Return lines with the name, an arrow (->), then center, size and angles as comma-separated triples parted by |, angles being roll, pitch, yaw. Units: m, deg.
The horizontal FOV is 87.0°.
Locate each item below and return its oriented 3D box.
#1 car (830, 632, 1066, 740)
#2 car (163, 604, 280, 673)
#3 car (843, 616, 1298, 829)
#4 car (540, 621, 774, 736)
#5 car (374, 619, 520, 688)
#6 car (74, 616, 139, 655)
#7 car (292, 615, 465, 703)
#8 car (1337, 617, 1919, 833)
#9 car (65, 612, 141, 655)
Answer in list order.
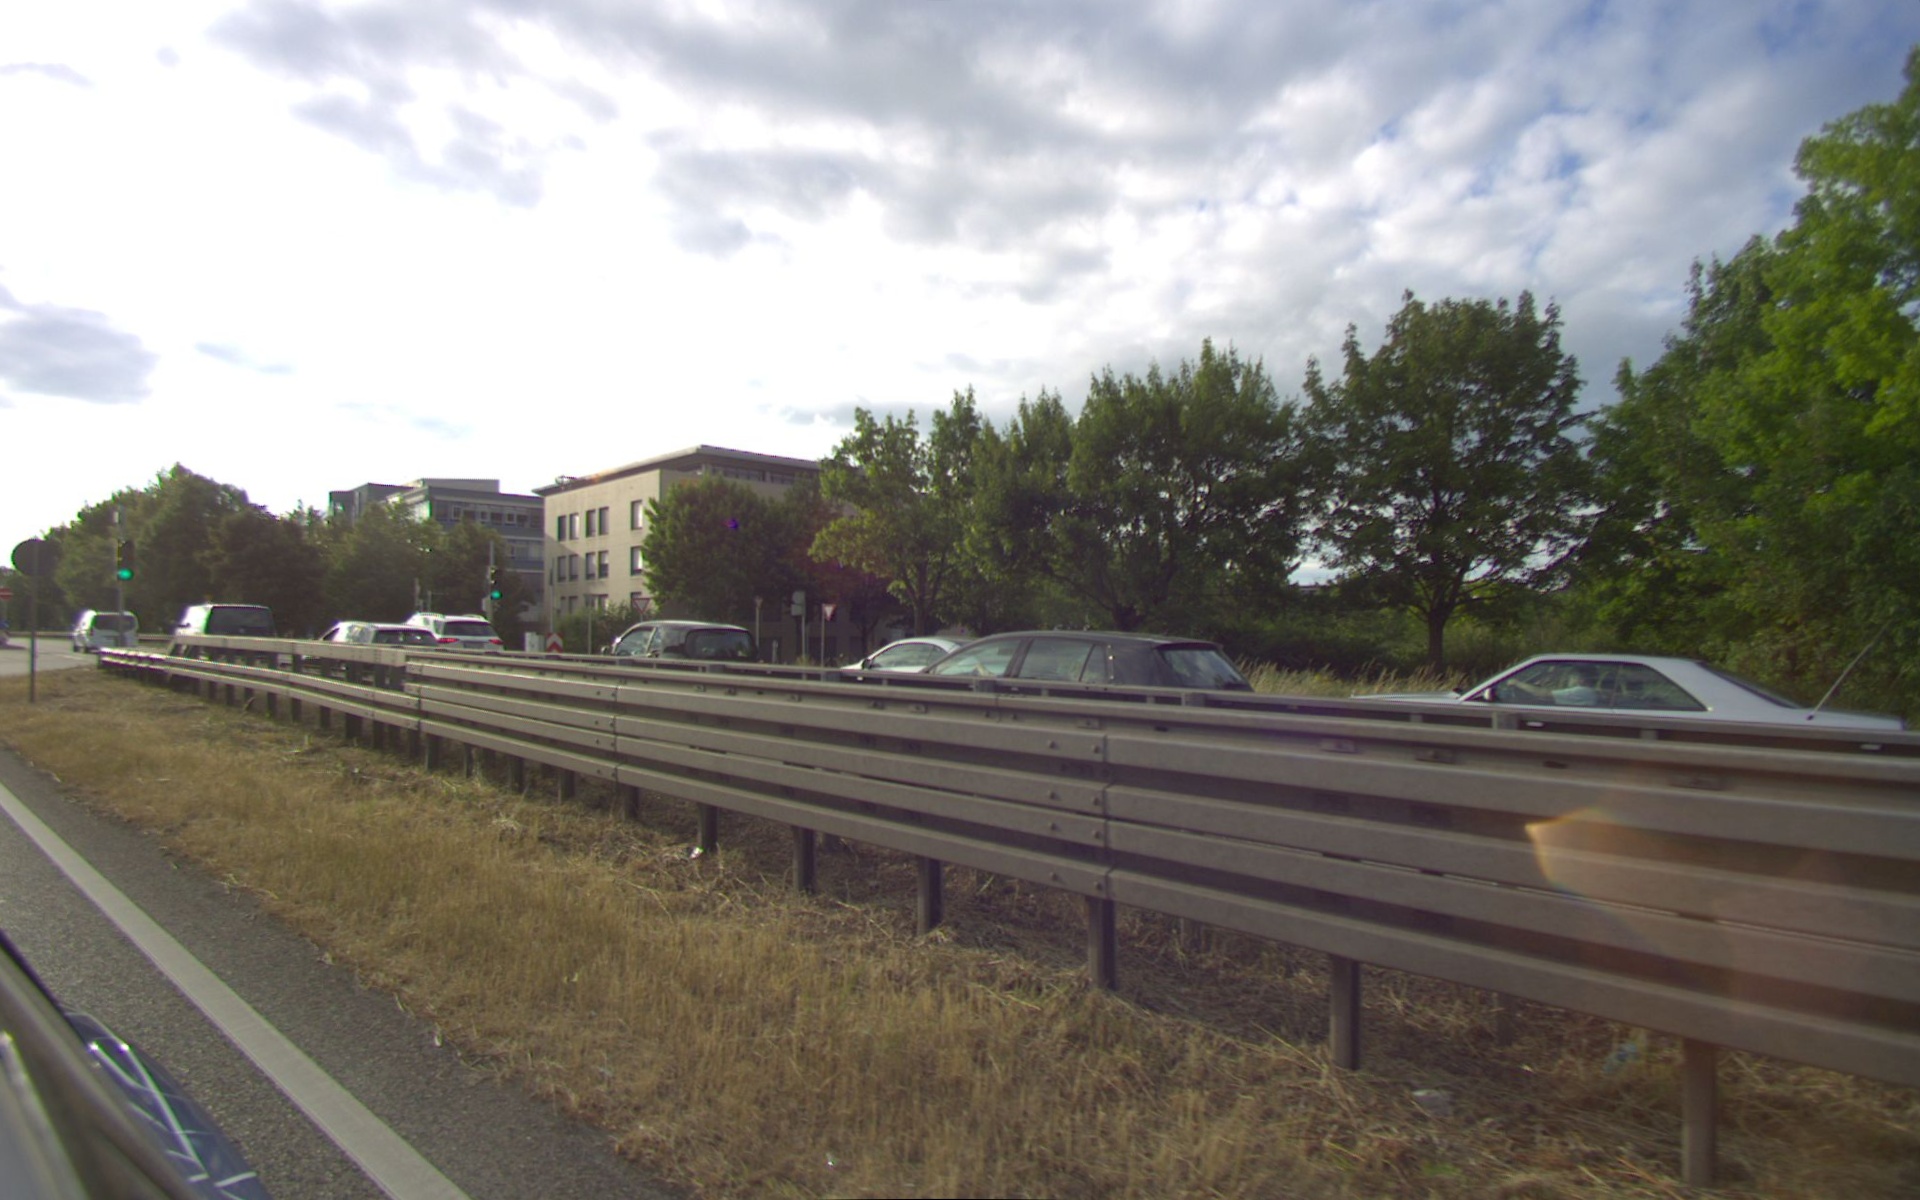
car -> -0.231, 1.167, 14.739 | 3.307, 1.364, 1.415 | -1, -2, 40
car -> -22.740, 1.168, 31.084 | 5.050, 1.931, 1.877 | -1, -5, 43
car -> 0.848, 0.898, 8.997 | 3.732, 1.478, 1.700 | -1, -1, 41
car -> -4.313, 1.026, 14.185 | 3.461, 1.371, 1.540 | -2, -1, 41
car -> -14.311, 1.449, 28.106 | 4.845, 1.763, 2.012 | -1, -4, 43
car -> -46.499, 1.914, 55.091 | 5.089, 2.005, 1.914 | -1, -3, 42
car -> -11.941, 1.116, 20.657 | 4.552, 1.601, 1.695 | -1, -1, 41
car -> 5.999, 0.939, 9.312 | 4.396, 1.548, 1.815 | -1, -2, 42
car -> -40.129, 1.562, 47.336 | 5.345, 1.886, 1.914 | -1, -3, 42
